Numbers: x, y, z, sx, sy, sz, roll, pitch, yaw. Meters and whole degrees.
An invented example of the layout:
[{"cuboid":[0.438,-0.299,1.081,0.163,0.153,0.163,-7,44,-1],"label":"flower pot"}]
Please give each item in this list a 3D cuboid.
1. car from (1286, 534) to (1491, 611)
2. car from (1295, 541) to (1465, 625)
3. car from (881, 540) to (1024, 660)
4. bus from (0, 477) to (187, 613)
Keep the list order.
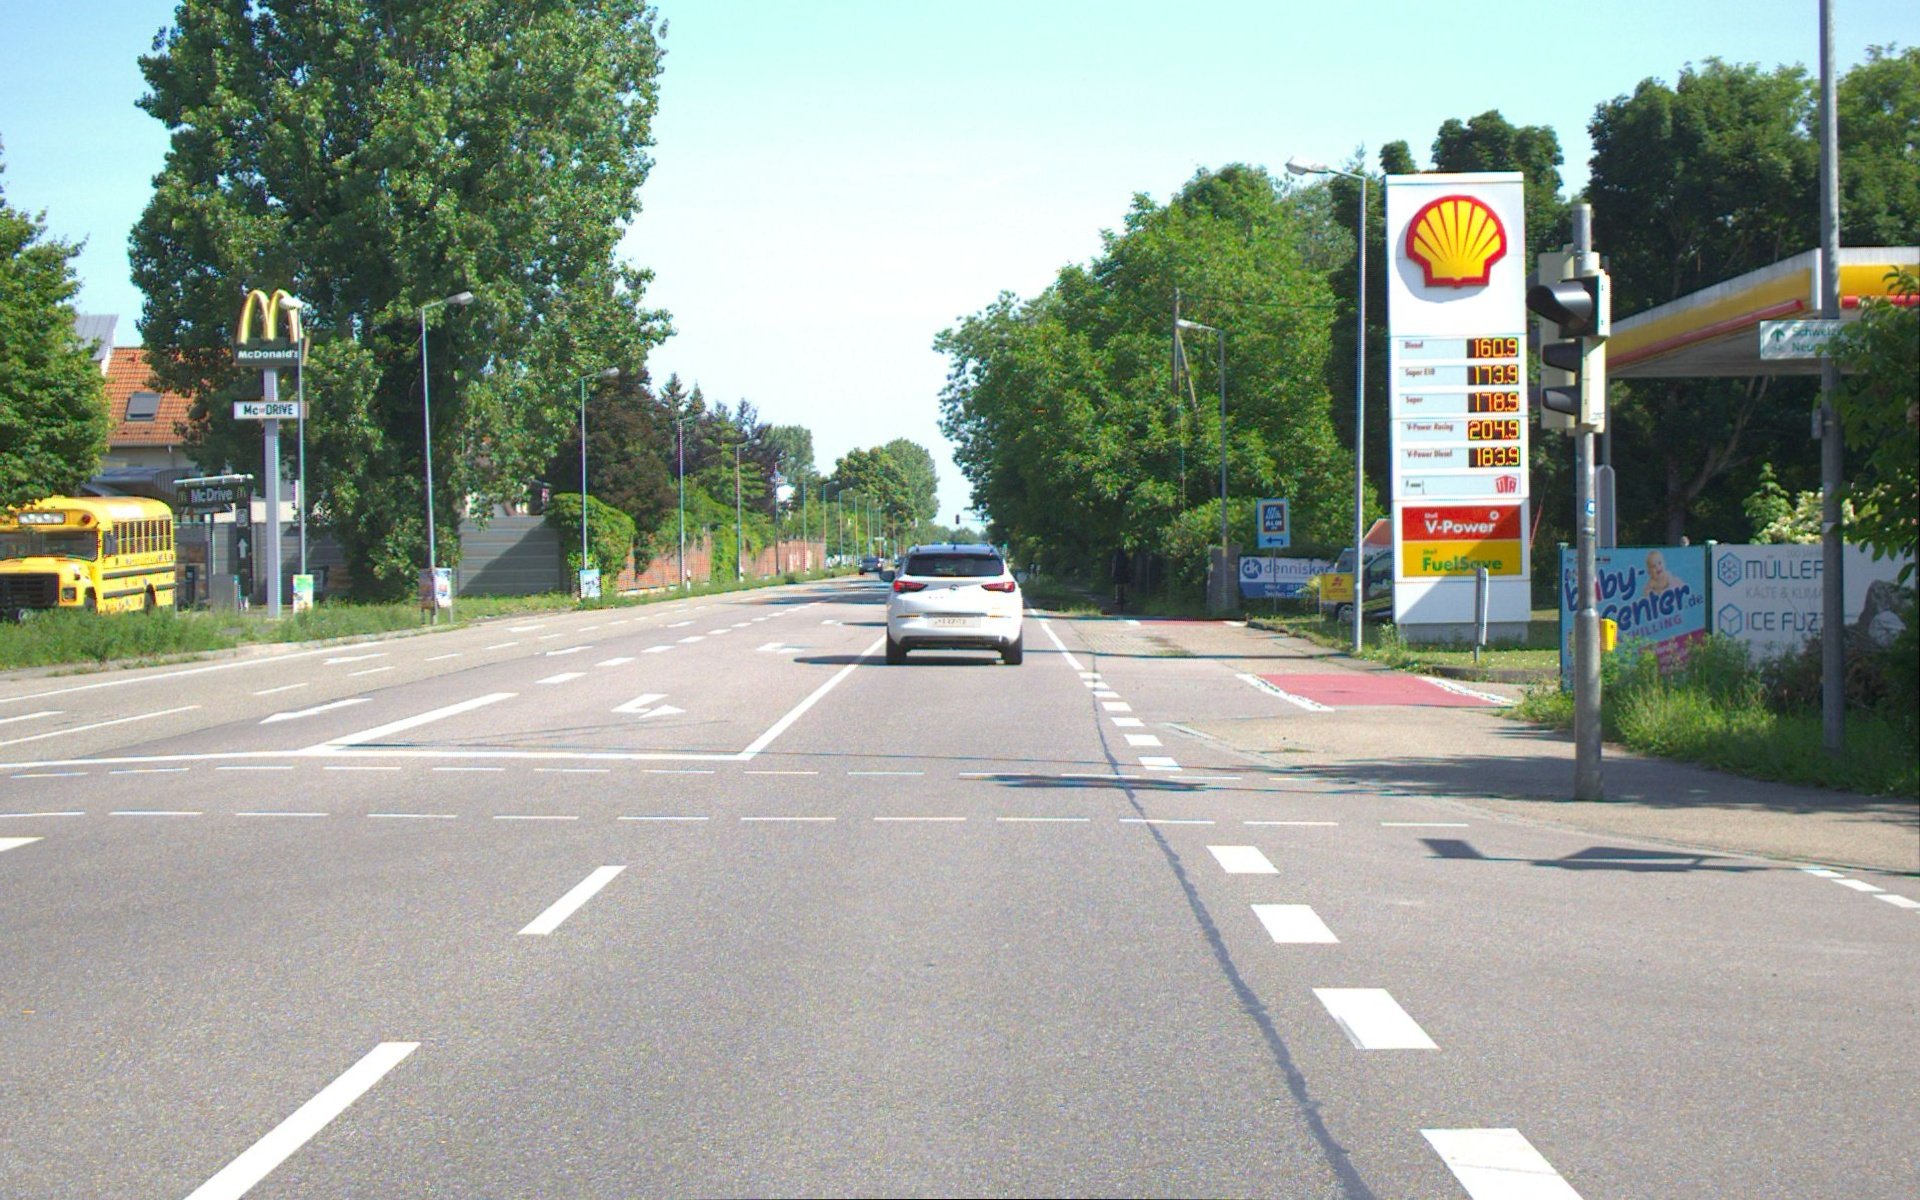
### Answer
[{"cuboid":[8.979,-0.581,72.116,3.986,1.525,1.586,1,0,-6],"label":"car"},{"cuboid":[7.769,-0.305,63.637,2.729,1.525,1.574,0,-1,45],"label":"car"},{"cuboid":[-0.067,-0.017,47.118,1.847,1.536,4.224,1,0,1],"label":"car"},{"cuboid":[-18.661,-1.139,73.088,2.579,2.670,8.997,1,0,-1],"label":"bus"}]
